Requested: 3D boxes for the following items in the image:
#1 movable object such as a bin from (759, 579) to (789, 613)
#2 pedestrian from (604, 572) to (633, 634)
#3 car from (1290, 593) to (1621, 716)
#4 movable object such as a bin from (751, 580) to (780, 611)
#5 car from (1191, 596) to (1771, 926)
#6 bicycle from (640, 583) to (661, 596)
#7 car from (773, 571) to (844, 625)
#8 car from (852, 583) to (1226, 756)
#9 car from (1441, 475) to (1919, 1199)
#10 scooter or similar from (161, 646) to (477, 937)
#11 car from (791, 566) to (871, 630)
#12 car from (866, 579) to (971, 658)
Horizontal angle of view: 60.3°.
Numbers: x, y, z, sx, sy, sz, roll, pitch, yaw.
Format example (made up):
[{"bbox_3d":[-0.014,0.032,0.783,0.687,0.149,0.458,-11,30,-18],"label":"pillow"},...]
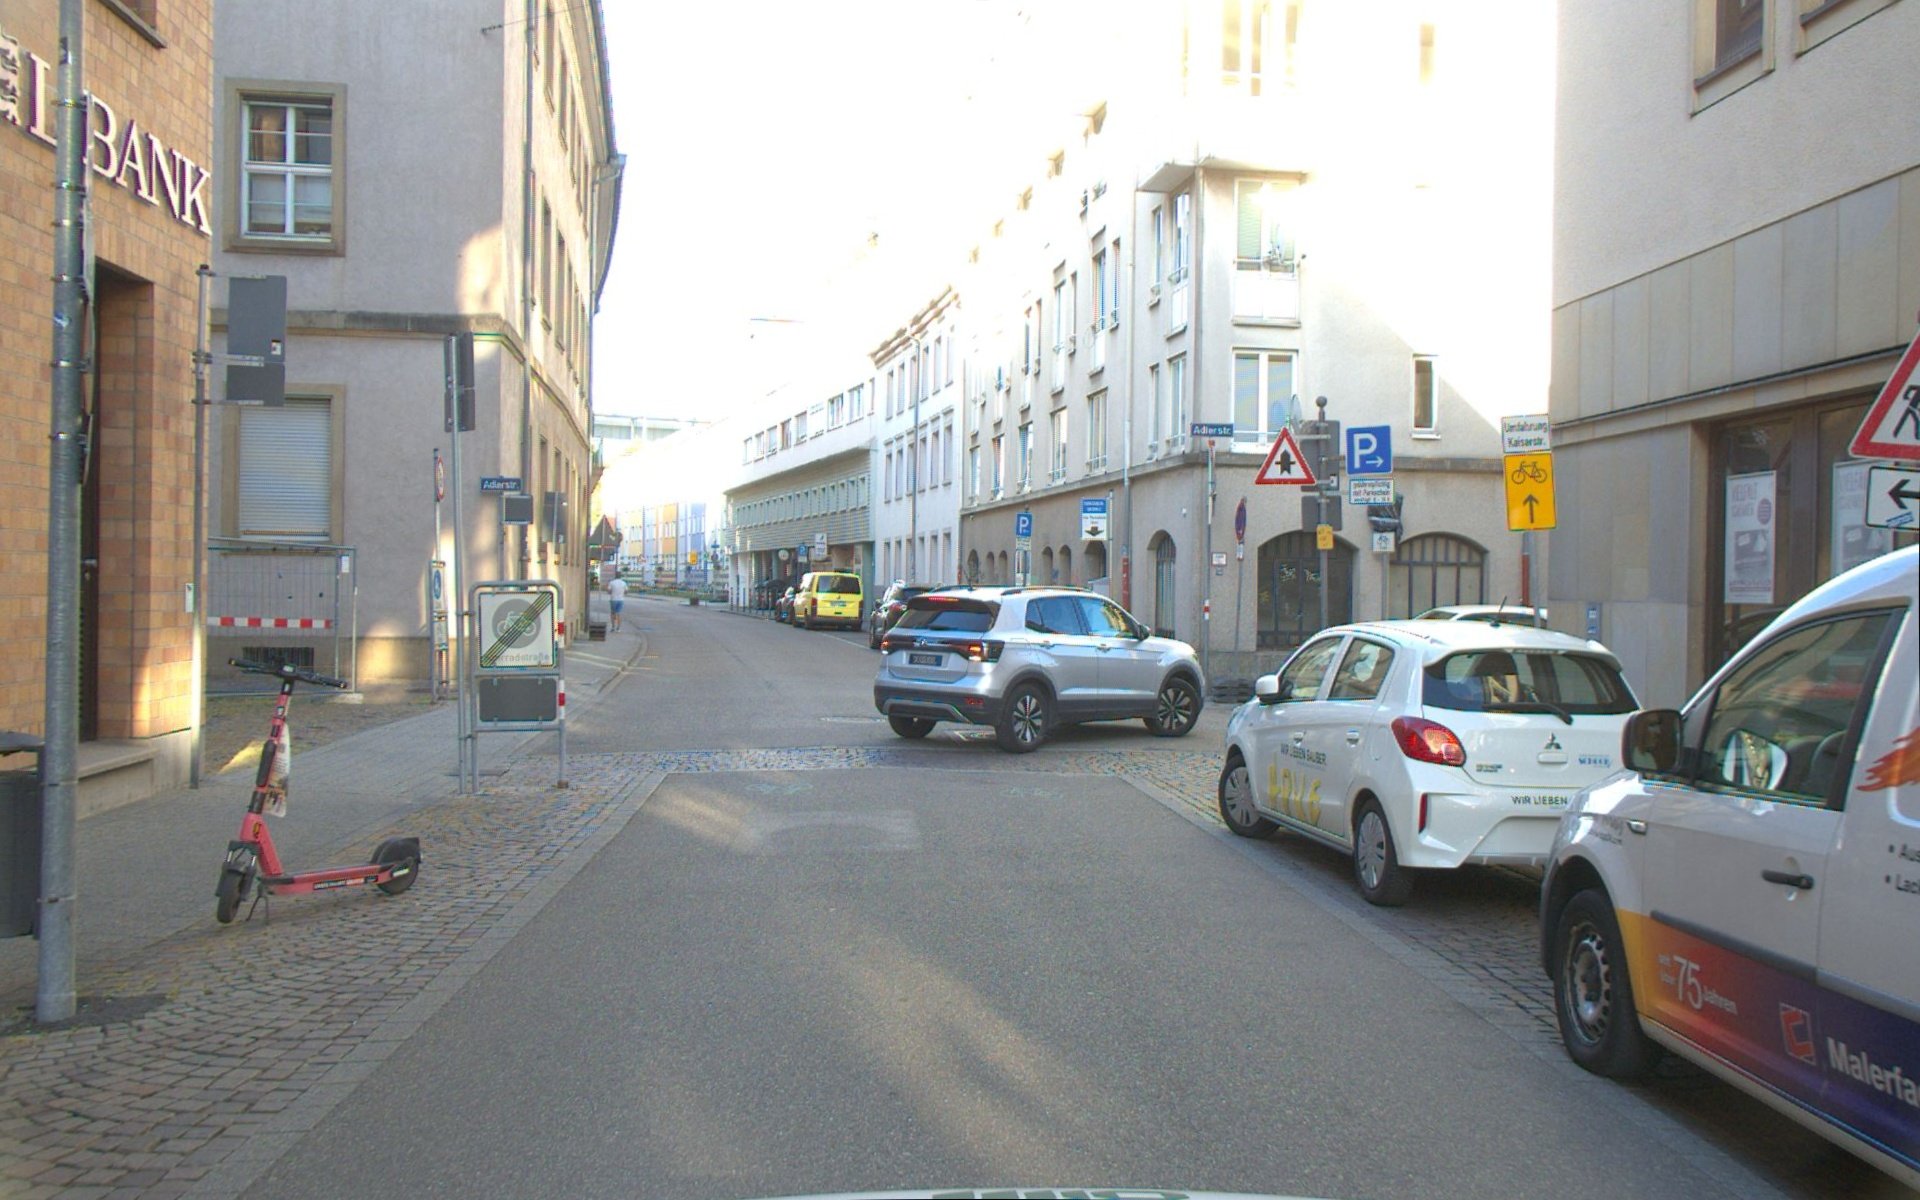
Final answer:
[{"bbox_3d":[-9.020,-0.213,80.241,1.114,1.585,1.731,1,0,-18],"label":"movable object such as a bin"},{"bbox_3d":[-9.803,0.078,47.509,0.753,1.754,0.684,1,0,-16],"label":"pedestrian"},{"bbox_3d":[7.057,0.758,23.819,4.133,1.580,1.900,2,0,-4],"label":"car"},{"bbox_3d":[-9.655,-0.217,81.918,1.114,1.505,1.731,1,0,-18],"label":"movable object such as a bin"},{"bbox_3d":[2.844,0.795,10.085,1.852,1.544,4.057,2,0,-7],"label":"car"},{"bbox_3d":[-26.934,-0.921,143.932,1.751,1.018,0.544,1,0,-16],"label":"bicycle"},{"bbox_3d":[-5.716,-0.104,61.932,2.018,1.905,4.085,1,1,-14],"label":"car"},{"bbox_3d":[0.926,0.630,17.404,1.811,1.589,3.974,1,1,43],"label":"car"},{"bbox_3d":[2.968,0.665,4.137,1.794,1.822,5.212,2,0,-2],"label":"car"},{"bbox_3d":[-3.113,0.877,8.147,0.684,1.238,1.356,0,0,25],"label":"scooter or similar"},{"bbox_3d":[-4.439,-0.099,56.199,2.018,2.049,4.160,1,1,-14],"label":"car"},{"bbox_3d":[-1.062,0.409,39.873,1.932,1.721,4.092,2,0,-10],"label":"car"}]
